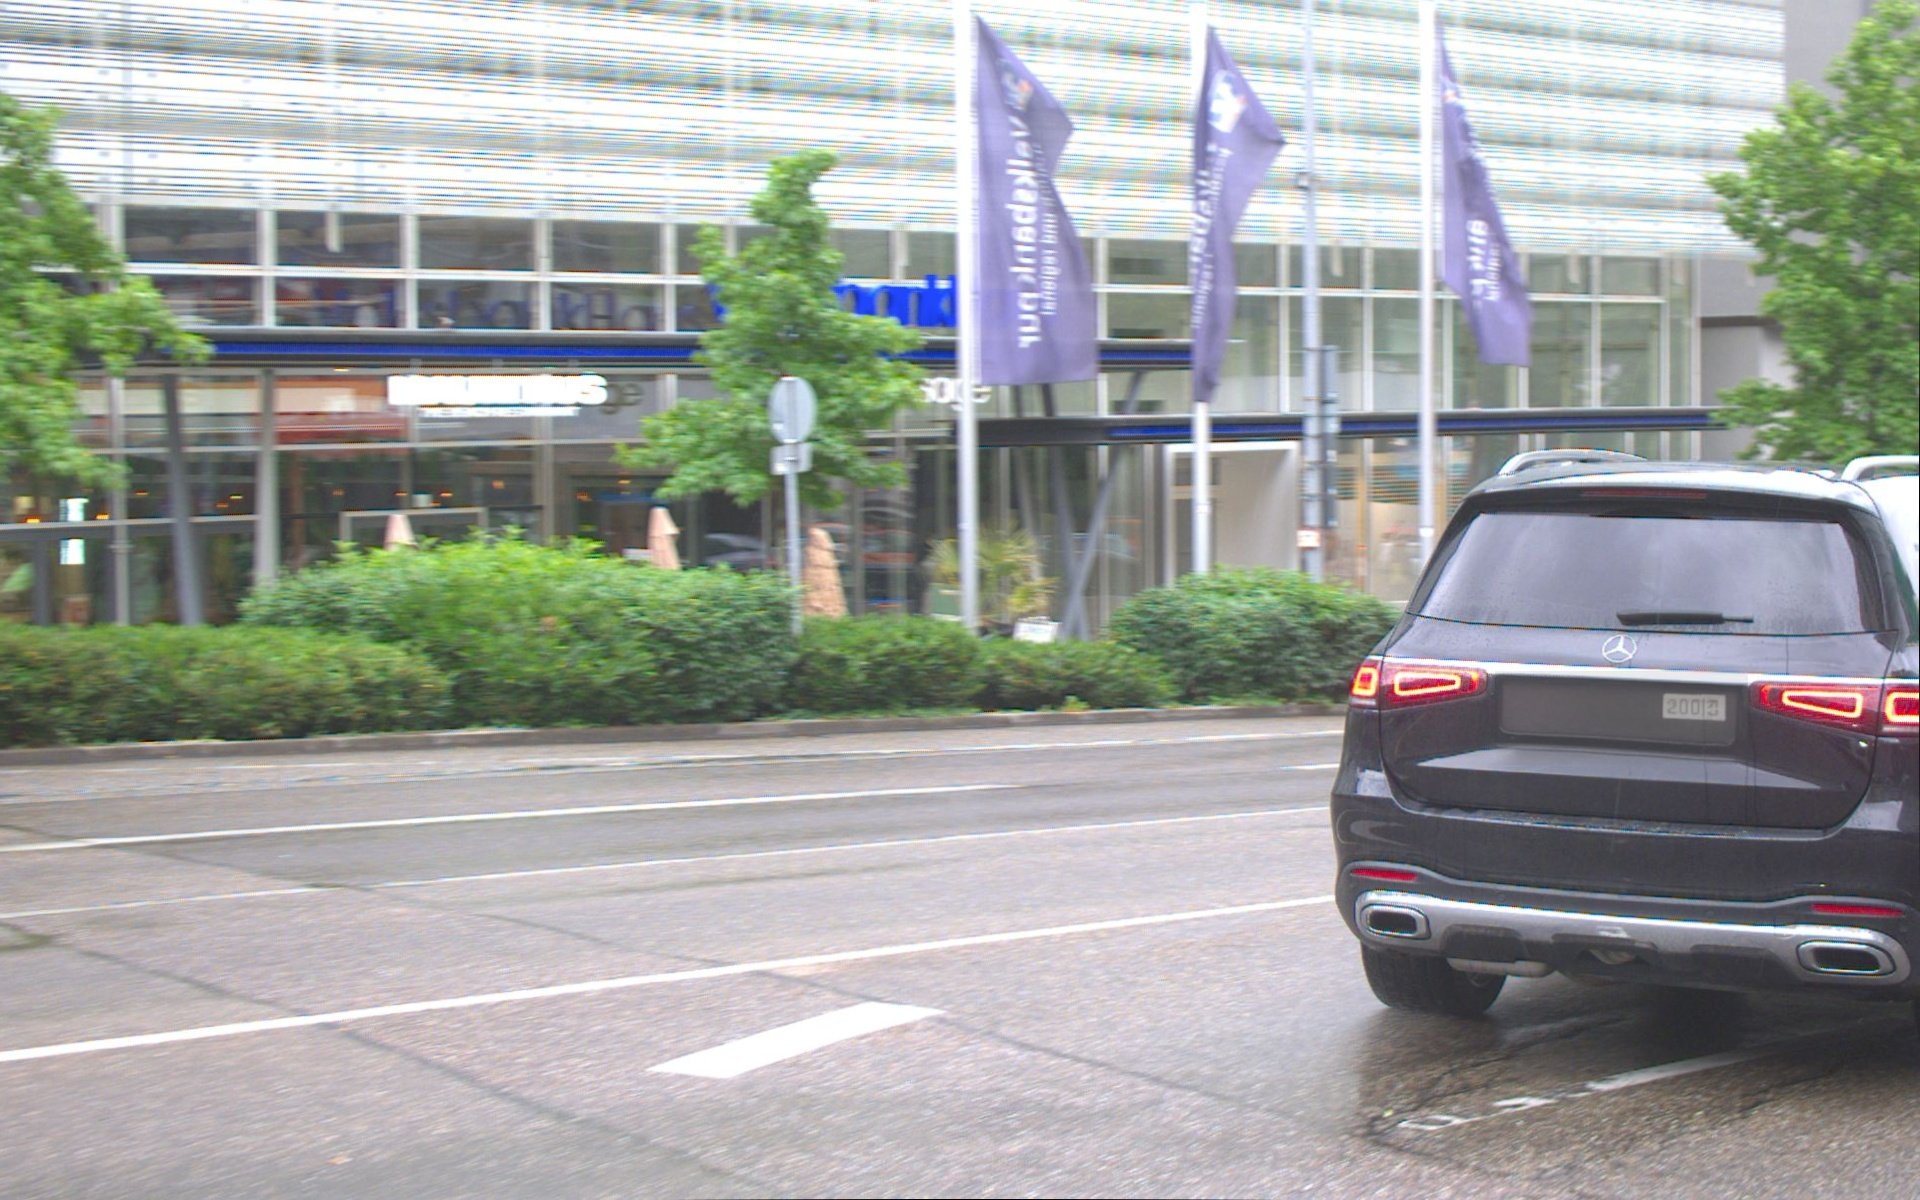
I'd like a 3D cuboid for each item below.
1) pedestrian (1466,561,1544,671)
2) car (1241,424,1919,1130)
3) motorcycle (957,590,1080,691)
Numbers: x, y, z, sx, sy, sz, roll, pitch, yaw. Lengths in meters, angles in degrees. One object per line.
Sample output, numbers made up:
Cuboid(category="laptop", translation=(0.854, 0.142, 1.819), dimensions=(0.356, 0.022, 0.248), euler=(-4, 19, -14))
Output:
Cuboid(category="pedestrian", translation=(7.318, 0.212, 46.149), dimensions=(0.842, 1.451, 0.654), euler=(0, 1, -44))
Cuboid(category="car", translation=(2.861, 0.430, 11.589), dimensions=(2.091, 1.810, 4.785), euler=(3, 2, 27))
Cuboid(category="motorcycle", translation=(0.780, 0.535, 46.314), dimensions=(0.767, 1.291, 1.551), euler=(0, 2, -44))
